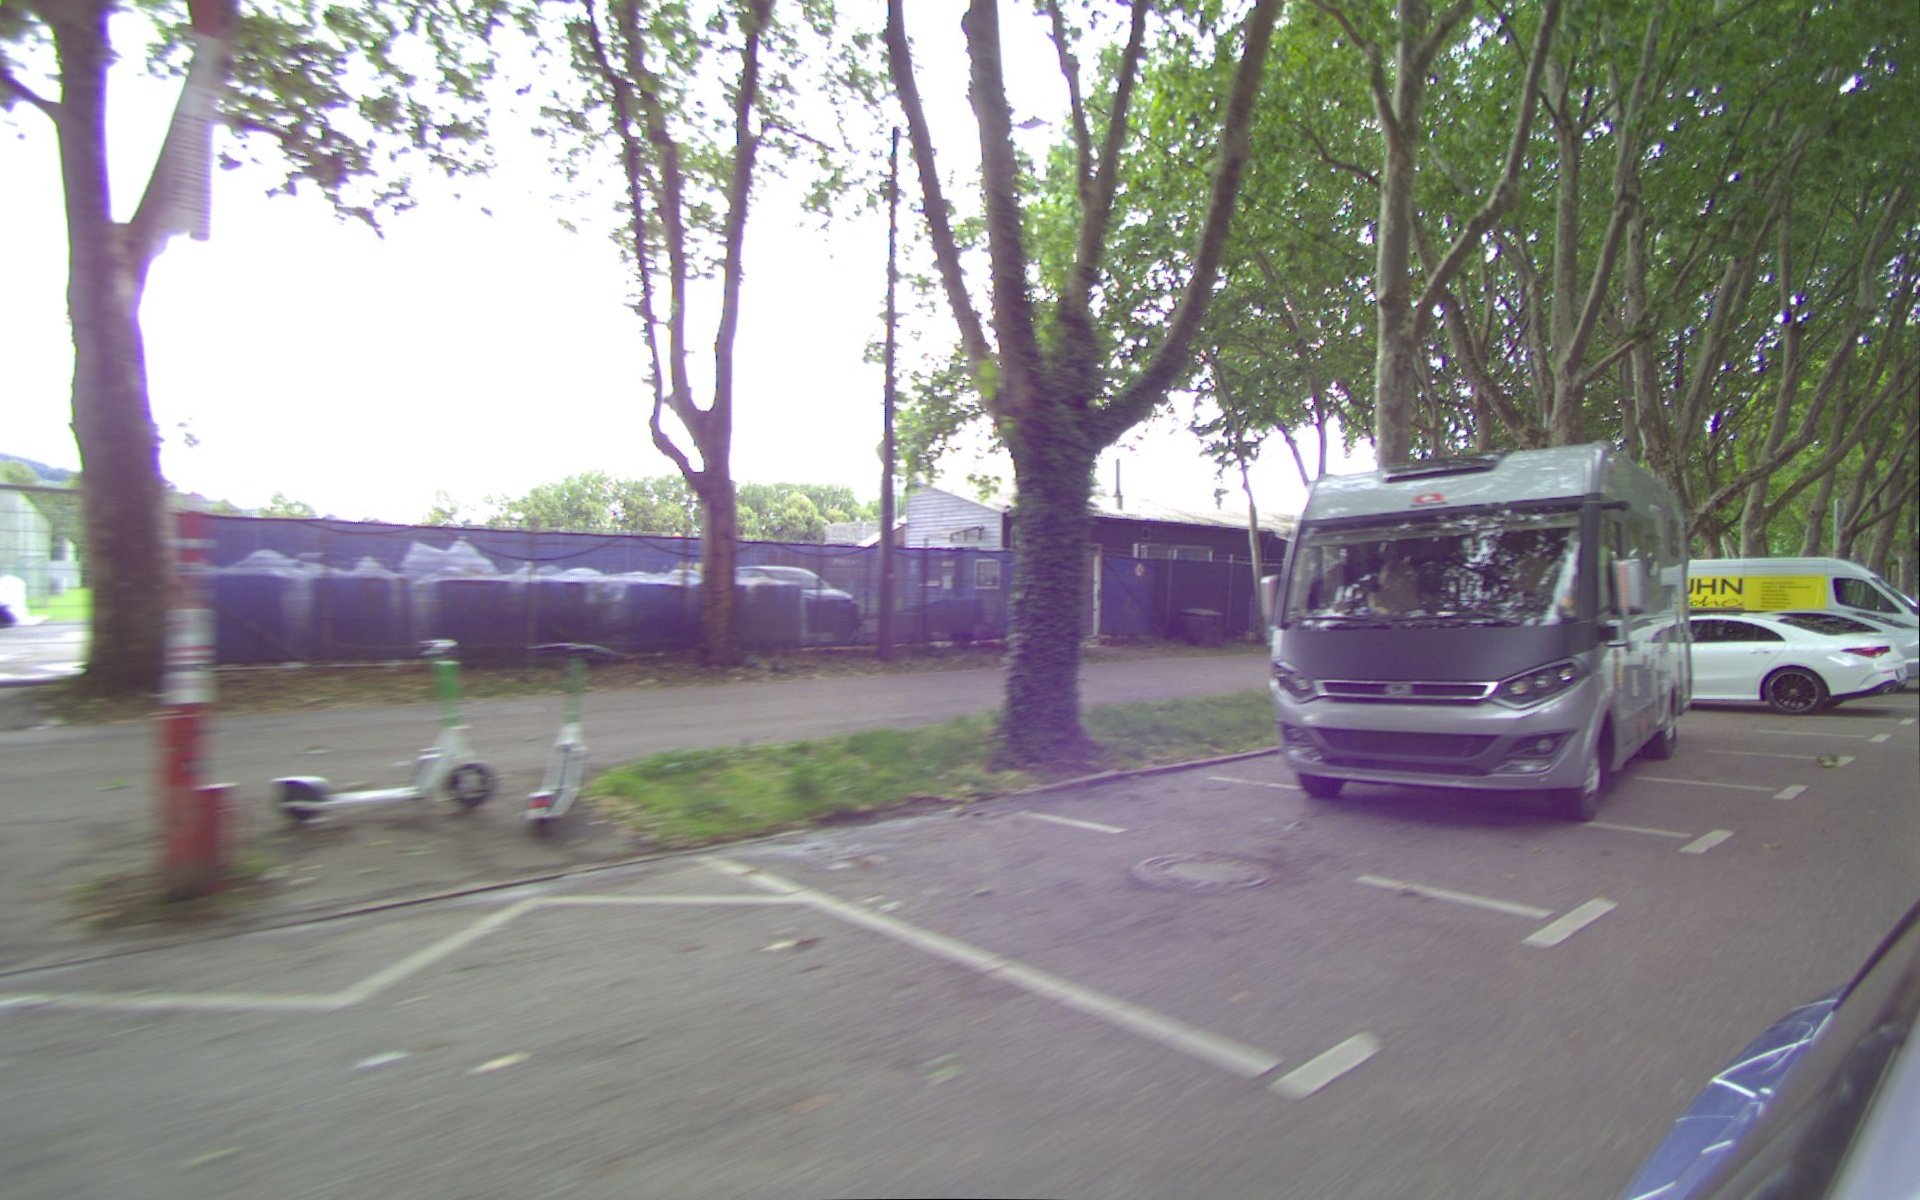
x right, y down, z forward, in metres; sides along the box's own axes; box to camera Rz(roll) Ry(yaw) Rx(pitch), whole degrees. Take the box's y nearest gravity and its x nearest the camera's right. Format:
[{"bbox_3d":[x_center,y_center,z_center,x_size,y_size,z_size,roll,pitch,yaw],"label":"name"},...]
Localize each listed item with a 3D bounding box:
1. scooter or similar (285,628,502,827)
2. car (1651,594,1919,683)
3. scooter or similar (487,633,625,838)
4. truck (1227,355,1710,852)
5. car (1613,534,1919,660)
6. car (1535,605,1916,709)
[{"bbox_3d":[-3.799,0.808,6.824,1.249,1.199,0.387,0,-1,-35],"label":"scooter or similar"},{"bbox_3d":[15.246,0.636,18.261,1.585,1.464,4.362,0,0,-44],"label":"car"},{"bbox_3d":[-2.742,0.882,6.980,0.589,1.140,1.278,3,4,-10],"label":"scooter or similar"},{"bbox_3d":[5.356,0.007,9.712,2.455,2.975,7.428,-1,0,40],"label":"truck"},{"bbox_3d":[19.984,-0.064,24.360,2.092,2.729,6.884,0,0,-44],"label":"car"},{"bbox_3d":[11.336,0.743,15.269,1.670,1.318,4.328,0,0,-40],"label":"car"}]
